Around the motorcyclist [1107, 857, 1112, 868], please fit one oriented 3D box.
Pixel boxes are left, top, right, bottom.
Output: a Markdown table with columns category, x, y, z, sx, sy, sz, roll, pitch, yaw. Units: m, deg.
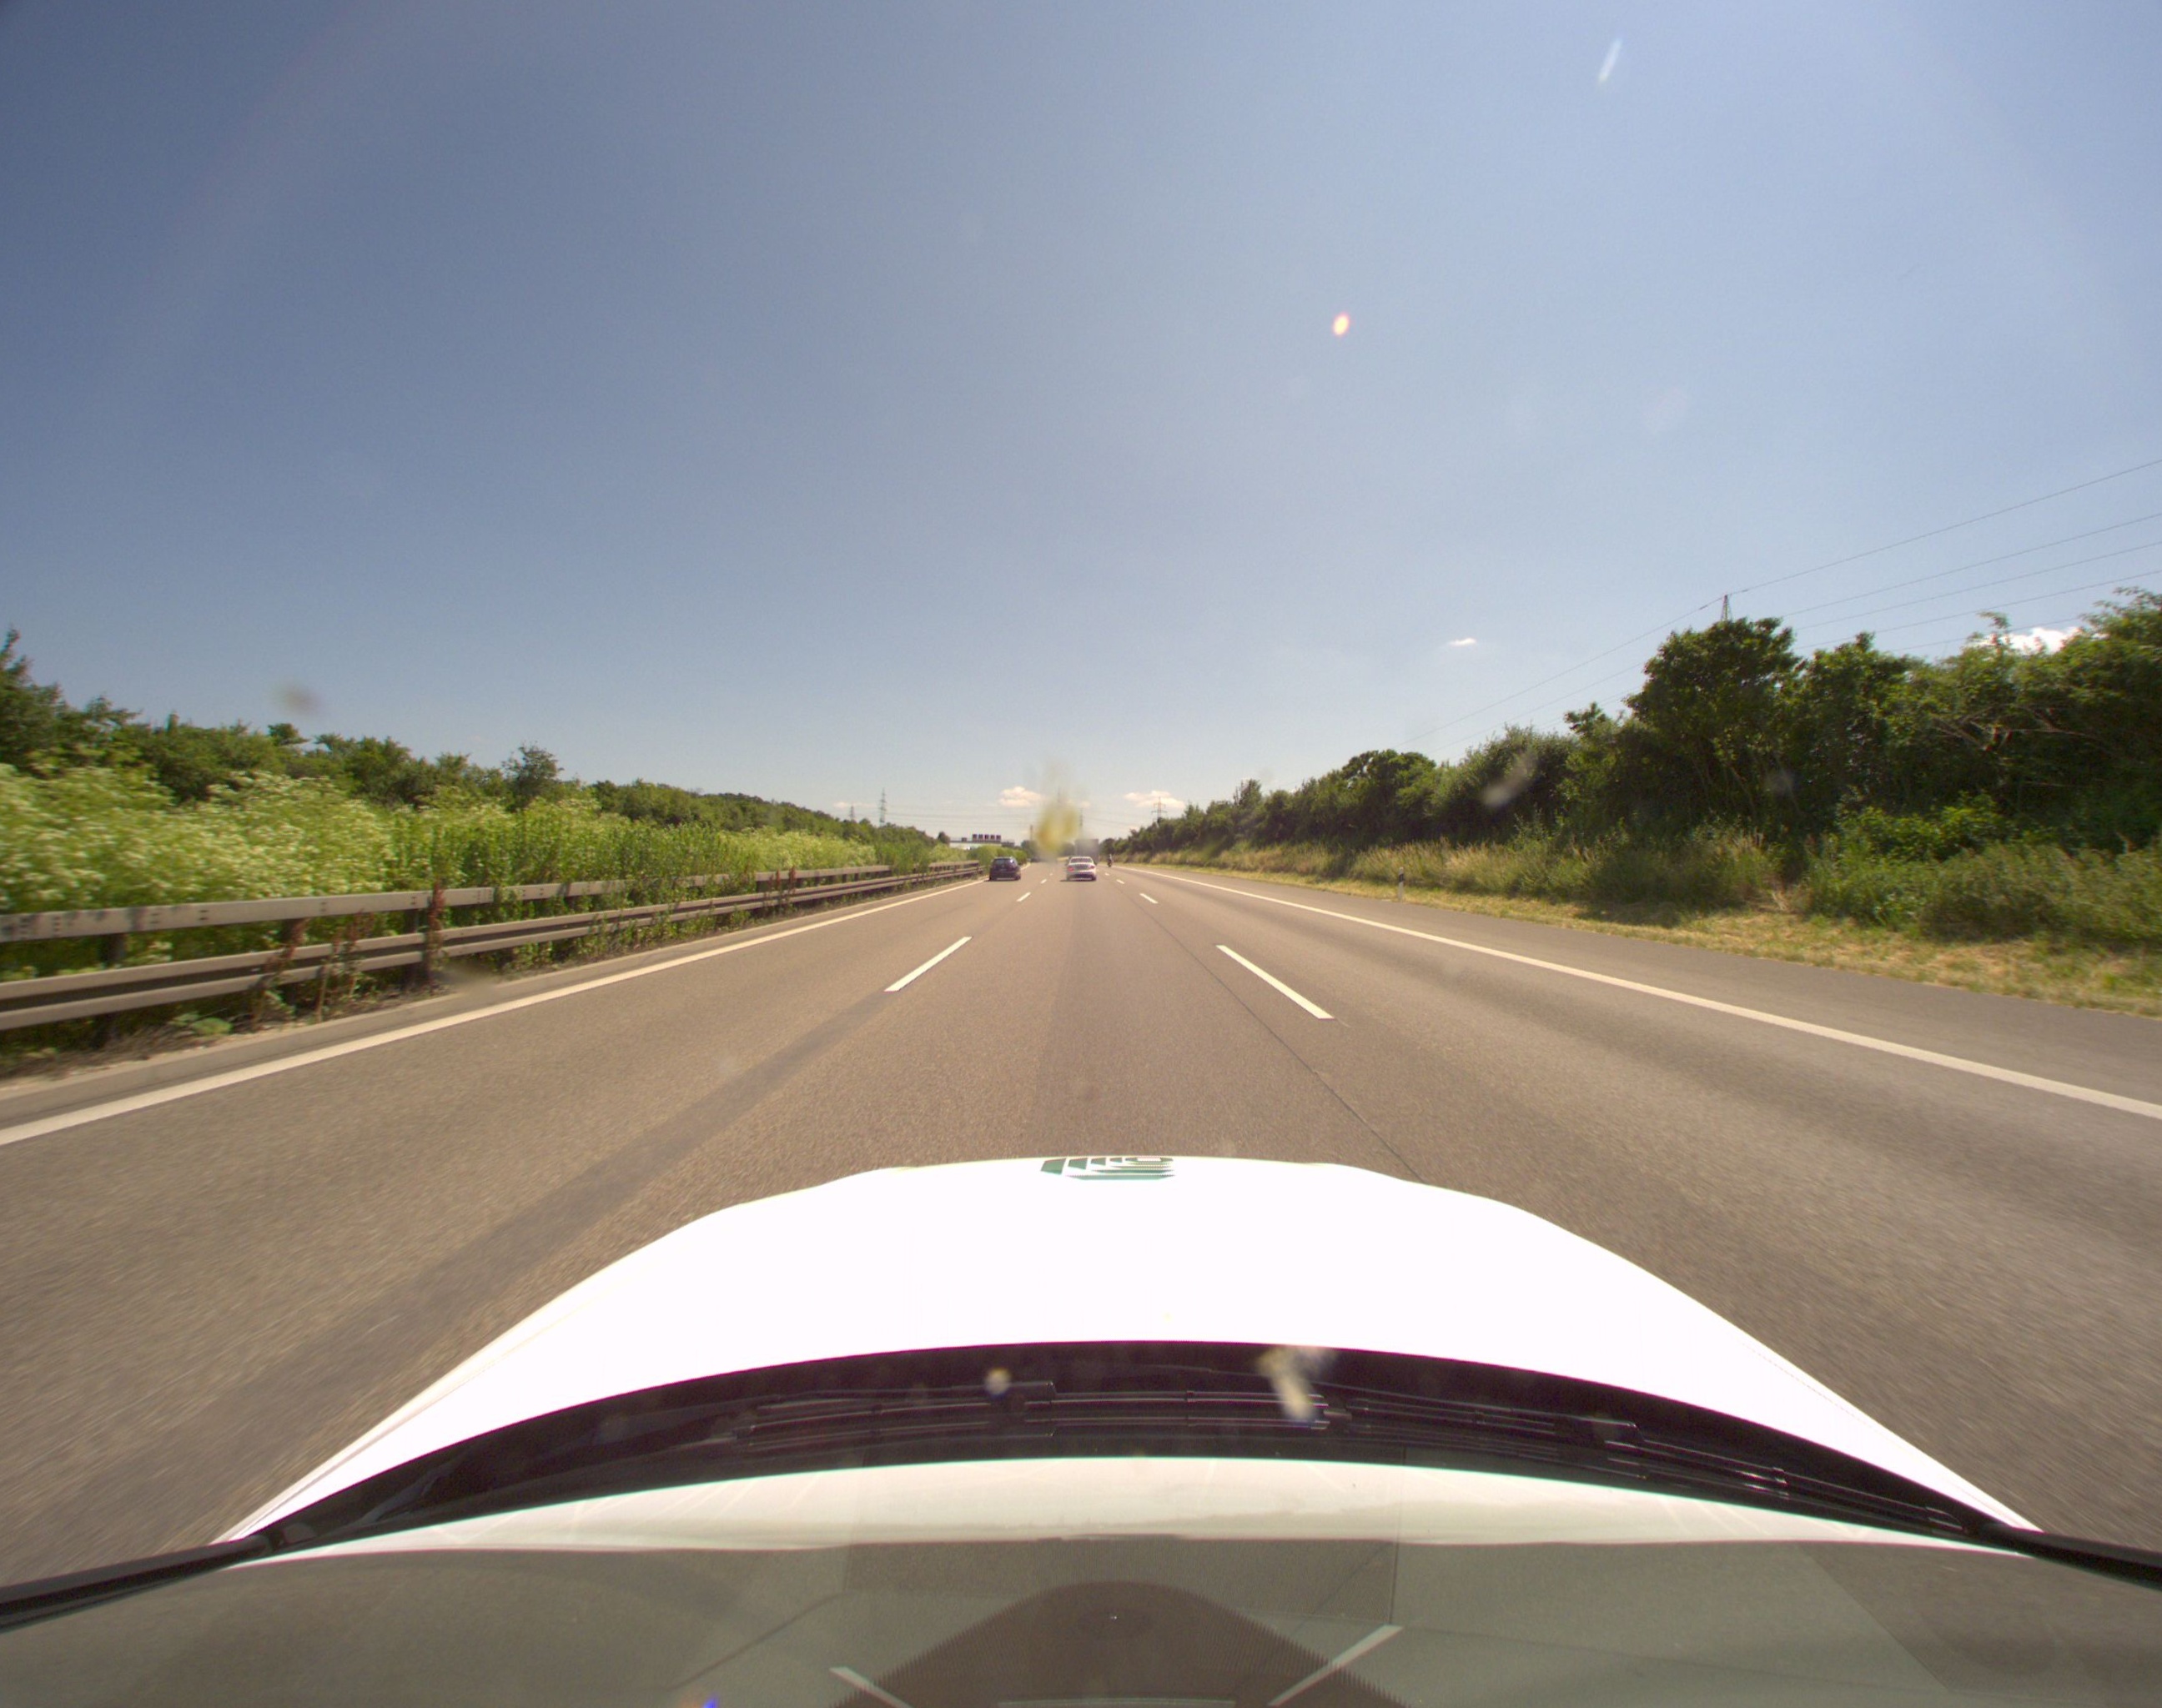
| category | x | y | z | sx | sy | sz | roll | pitch | yaw |
| --- | --- | --- | --- | --- | --- | --- | --- | --- | --- |
| motorcyclist | 3.704 | 1.134 | 106.747 | 0.569 | 1.479 | 0.701 | -1 | 0 | 4 |

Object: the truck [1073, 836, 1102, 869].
| category | x | y | z | sx | sy | sz | roll | pitch | yaw |
| --- | --- | --- | --- | --- | --- | --- | --- | --- | --- |
| truck | 0.717 | -0.146 | 100.792 | 3.212 | 3.924 | 9.054 | 0 | -1 | -2 |

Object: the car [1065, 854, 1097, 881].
| category | x | y | z | sx | sy | sz | roll | pitch | yaw |
| --- | --- | --- | --- | --- | --- | --- | --- | --- | --- |
| car | -0.014 | 0.764 | 48.749 | 1.814 | 1.540 | 3.913 | -1 | 0 | 0 |

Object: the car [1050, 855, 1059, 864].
| category | x | y | z | sx | sy | sz | roll | pitch | yaw |
| --- | --- | --- | --- | --- | --- | --- | --- | --- | --- |
| car | -5.659 | 1.143 | 174.080 | 1.897 | 1.925 | 3.997 | -1 | 0 | -2 |

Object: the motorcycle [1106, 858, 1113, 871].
| category | x | y | z | sx | sy | sz | roll | pitch | yaw |
| --- | --- | --- | --- | --- | --- | --- | --- | --- | --- |
| motorcycle | 3.774 | 1.375 | 106.767 | 0.806 | 1.607 | 1.784 | 0 | -1 | 3 |

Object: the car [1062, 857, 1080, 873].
| category | x | y | z | sx | sy | sz | roll | pitch | yaw |
| --- | --- | --- | --- | --- | --- | --- | --- | --- | --- |
| car | -0.989 | 1.135 | 83.031 | 1.833 | 1.540 | 3.914 | -1 | 0 | 0 |

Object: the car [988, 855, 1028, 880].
| category | x | y | z | sx | sy | sz | roll | pitch | yaw |
| --- | --- | --- | --- | --- | --- | --- | --- | --- | --- |
| car | -4.461 | 0.819 | 50.296 | 1.747 | 1.429 | 4.007 | -1 | 0 | 6 |

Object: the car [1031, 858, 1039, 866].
| category | x | y | z | sx | sy | sz | roll | pitch | yaw |
| --- | --- | --- | --- | --- | --- | --- | --- | --- | --- |
| car | -11.250 | 1.876 | 199.752 | 1.989 | 1.860 | 3.996 | -1 | 0 | -3 |
